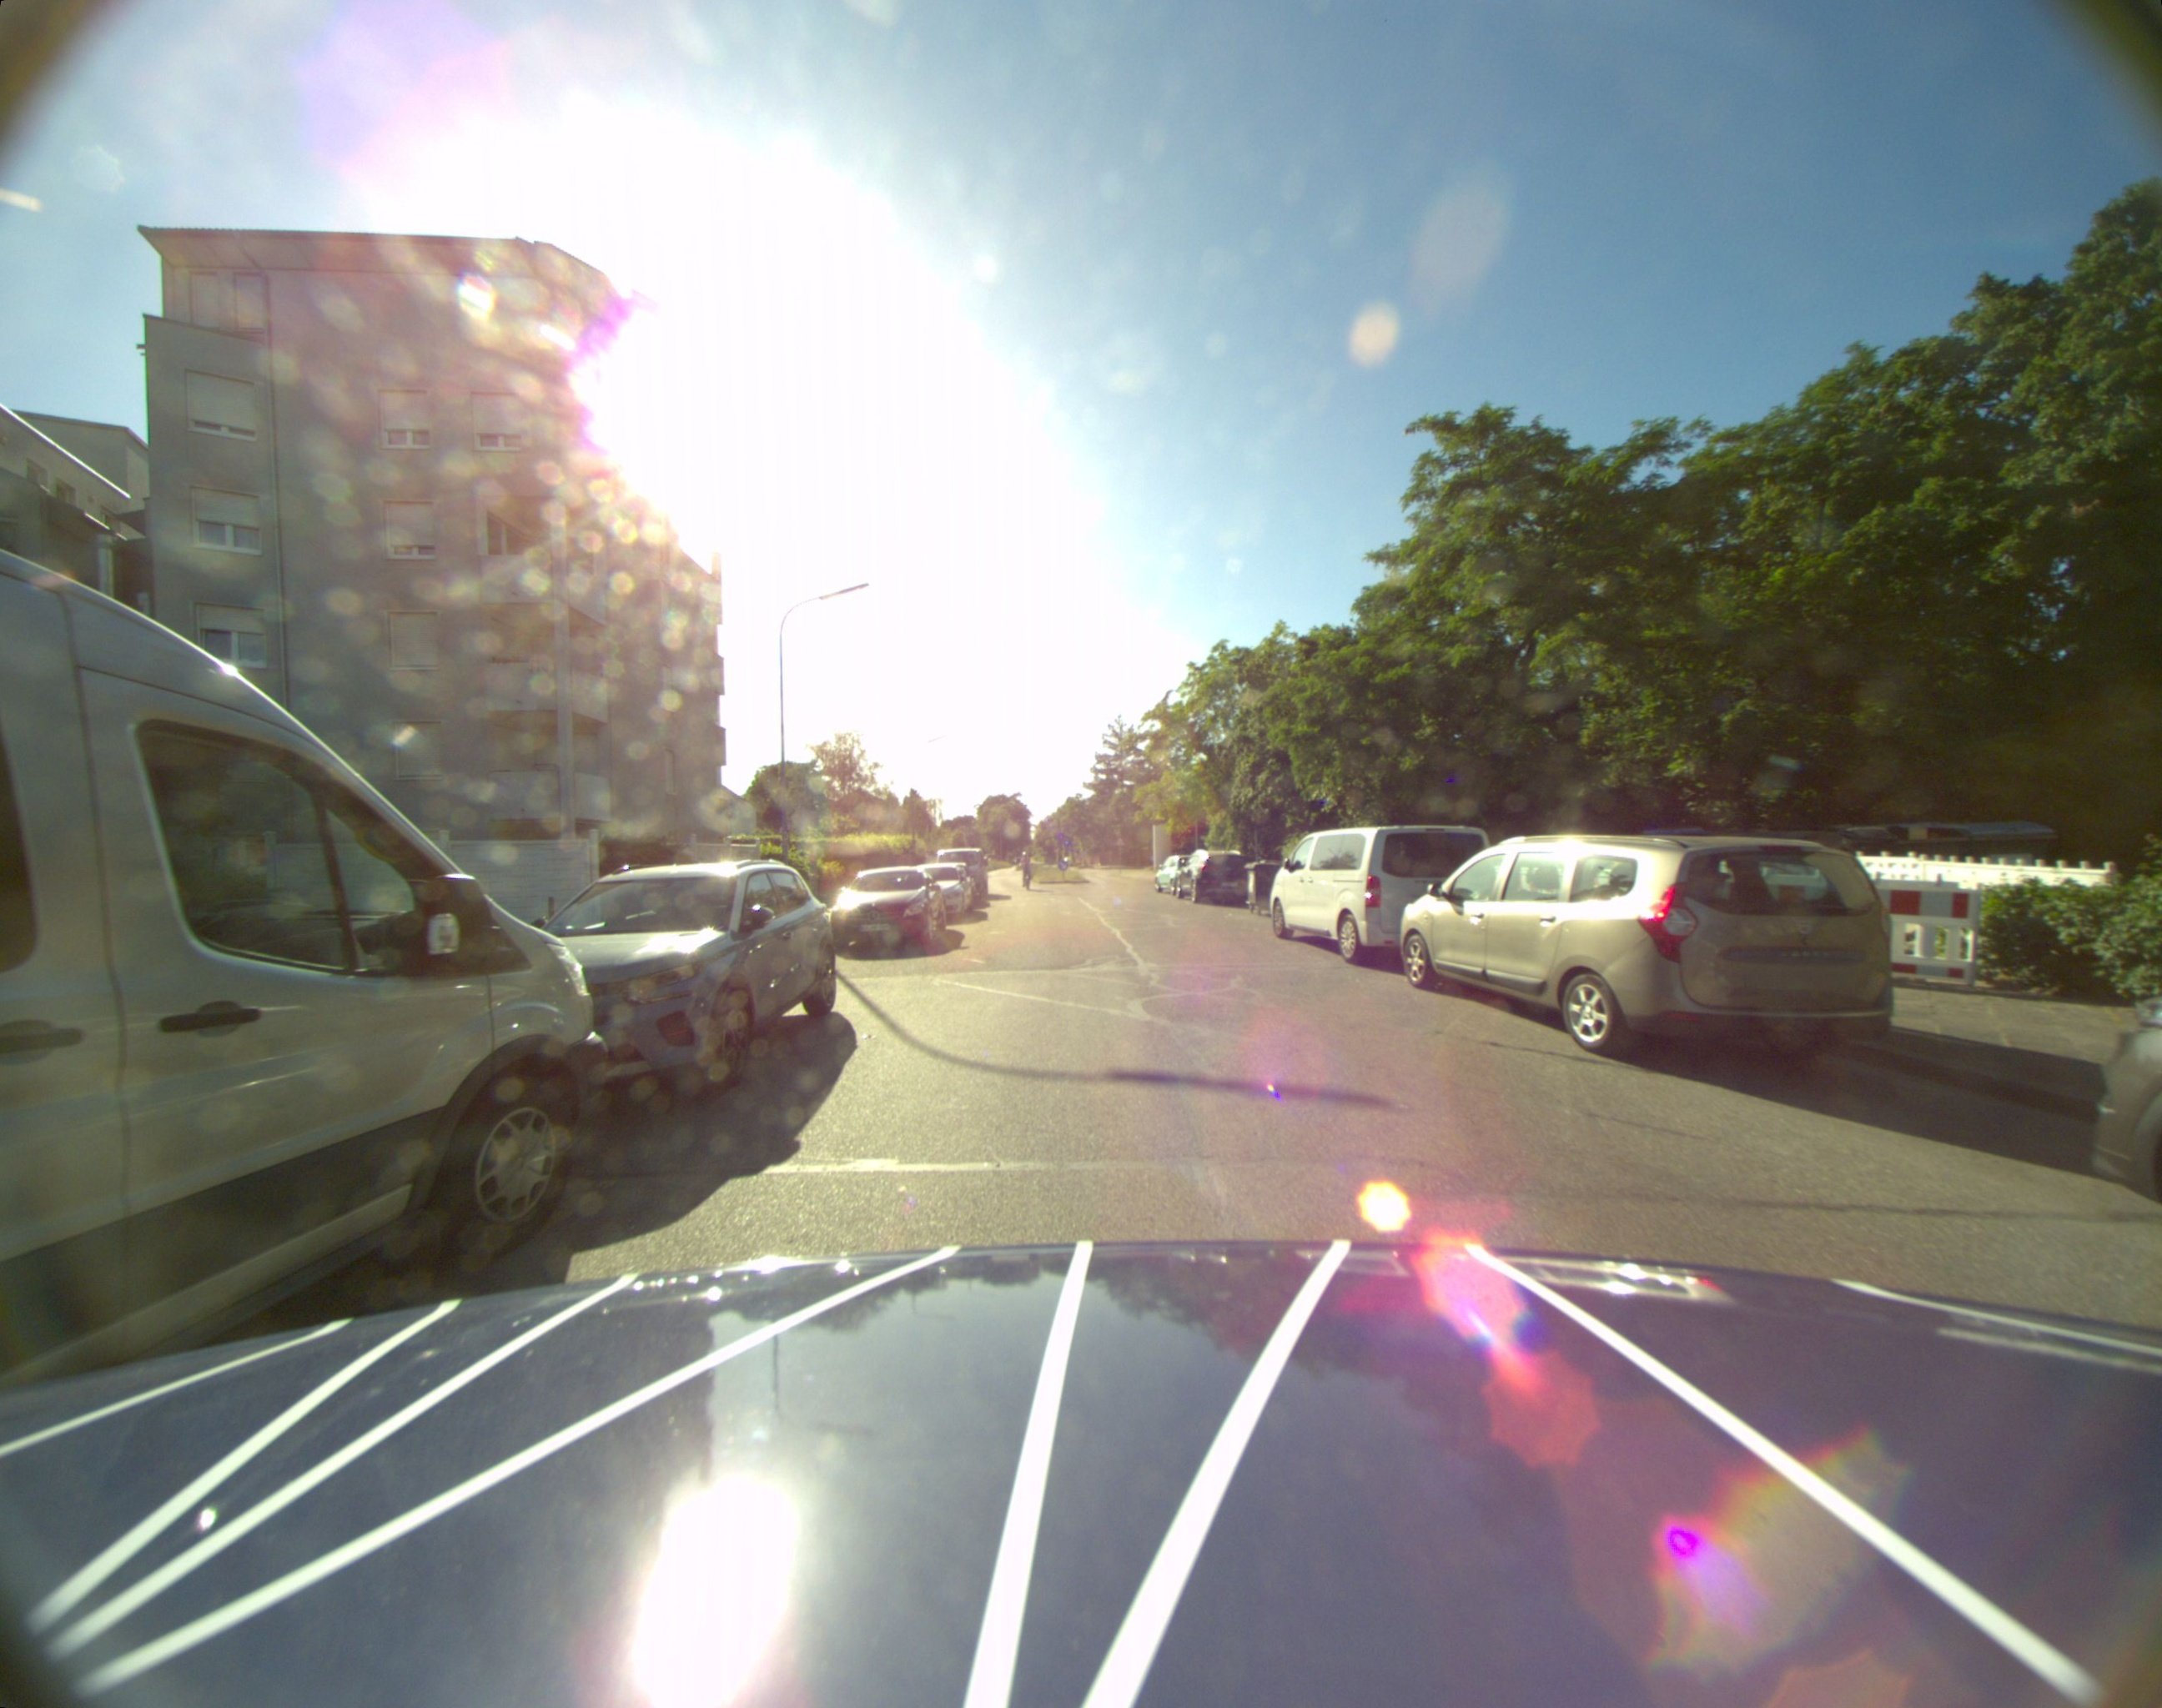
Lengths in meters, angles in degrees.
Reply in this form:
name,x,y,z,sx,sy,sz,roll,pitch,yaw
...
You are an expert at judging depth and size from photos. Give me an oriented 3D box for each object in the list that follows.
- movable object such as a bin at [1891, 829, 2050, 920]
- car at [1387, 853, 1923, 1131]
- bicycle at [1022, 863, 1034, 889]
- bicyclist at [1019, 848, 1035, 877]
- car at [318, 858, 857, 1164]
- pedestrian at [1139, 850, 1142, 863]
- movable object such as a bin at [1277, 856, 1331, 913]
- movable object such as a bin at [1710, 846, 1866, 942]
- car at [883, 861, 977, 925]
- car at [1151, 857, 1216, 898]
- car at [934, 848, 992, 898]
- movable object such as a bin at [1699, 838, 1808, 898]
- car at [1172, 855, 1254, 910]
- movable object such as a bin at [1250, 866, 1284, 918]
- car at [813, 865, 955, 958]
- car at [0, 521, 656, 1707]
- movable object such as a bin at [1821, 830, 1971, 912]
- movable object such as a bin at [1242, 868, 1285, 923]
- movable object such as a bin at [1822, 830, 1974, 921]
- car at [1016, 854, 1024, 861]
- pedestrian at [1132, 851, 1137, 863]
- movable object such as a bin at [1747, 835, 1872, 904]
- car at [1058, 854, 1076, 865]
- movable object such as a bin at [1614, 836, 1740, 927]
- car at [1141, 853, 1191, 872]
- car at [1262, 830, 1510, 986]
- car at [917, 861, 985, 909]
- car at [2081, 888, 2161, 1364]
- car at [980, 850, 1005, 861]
name,x,y,z,sx,sy,sz,roll,pitch,yaw
movable object such as a bin,15.349,0.333,13.164,1.261,1.480,1.279,-1,1,-1
car,4.436,0.859,6.881,1.560,1.712,4.340,-1,0,0
bicycle,-2.452,1.005,35.171,0.458,1.138,1.897,0,0,-7
bicyclist,-2.506,0.396,35.324,0.638,1.339,0.838,-1,1,-8
car,-3.442,0.902,6.529,1.915,1.657,4.373,-1,0,-3
pedestrian,7.232,0.313,92.275,0.396,1.552,0.538,0,1,-2
movable object such as a bin,5.945,0.792,20.307,1.065,1.459,0.892,-2,1,-12
movable object such as a bin,11.013,0.586,11.906,1.279,1.393,1.261,-1,1,-5
car,-4.030,0.980,20.990,1.915,1.480,4.373,-1,0,-3
car,3.983,0.879,30.015,1.631,1.518,3.416,-1,0,-9
car,-4.803,0.712,31.601,1.999,1.901,4.951,-1,0,-5
movable object such as a bin,15.806,0.318,17.930,1.278,1.347,1.510,-1,1,4
car,4.199,0.867,24.817,1.679,1.629,4.249,1,0,-3
movable object such as a bin,4.991,0.994,20.462,0.610,1.332,1.269,-1,1,0
car,-3.753,1.018,15.302,1.915,1.480,4.373,-1,0,-3
car,-3.327,0.566,1.027,2.110,2.472,5.855,-2,0,0
movable object such as a bin,15.647,0.310,14.664,1.279,1.480,1.509,-1,1,1
movable object such as a bin,4.594,1.027,19.191,0.805,1.308,1.321,-1,0,3
movable object such as a bin,14.022,0.350,13.099,1.261,1.480,1.279,-1,1,-1
car,-17.192,1.015,213.897,1.999,1.805,3.998,-1,0,-4
pedestrian,6.527,0.360,92.420,0.539,1.511,0.395,-1,1,-29
movable object such as a bin,15.592,0.319,16.326,1.278,1.400,1.510,-1,1,4
car,-2.152,0.856,115.365,2.000,1.649,3.996,-1,0,-10
movable object such as a bin,10.743,0.468,13.754,1.262,1.542,1.279,-1,1,-8
car,7.997,0.770,71.478,4.190,1.695,1.915,0,0,-22
car,4.414,0.686,11.927,1.868,1.949,4.669,-1,0,-2
car,-4.433,1.001,26.590,2.000,1.409,4.920,-1,0,-6
car,4.441,0.922,0.573,1.752,1.608,4.363,-1,0,3
car,-14.230,0.261,122.041,3.658,1.707,1.744,-1,1,-41
